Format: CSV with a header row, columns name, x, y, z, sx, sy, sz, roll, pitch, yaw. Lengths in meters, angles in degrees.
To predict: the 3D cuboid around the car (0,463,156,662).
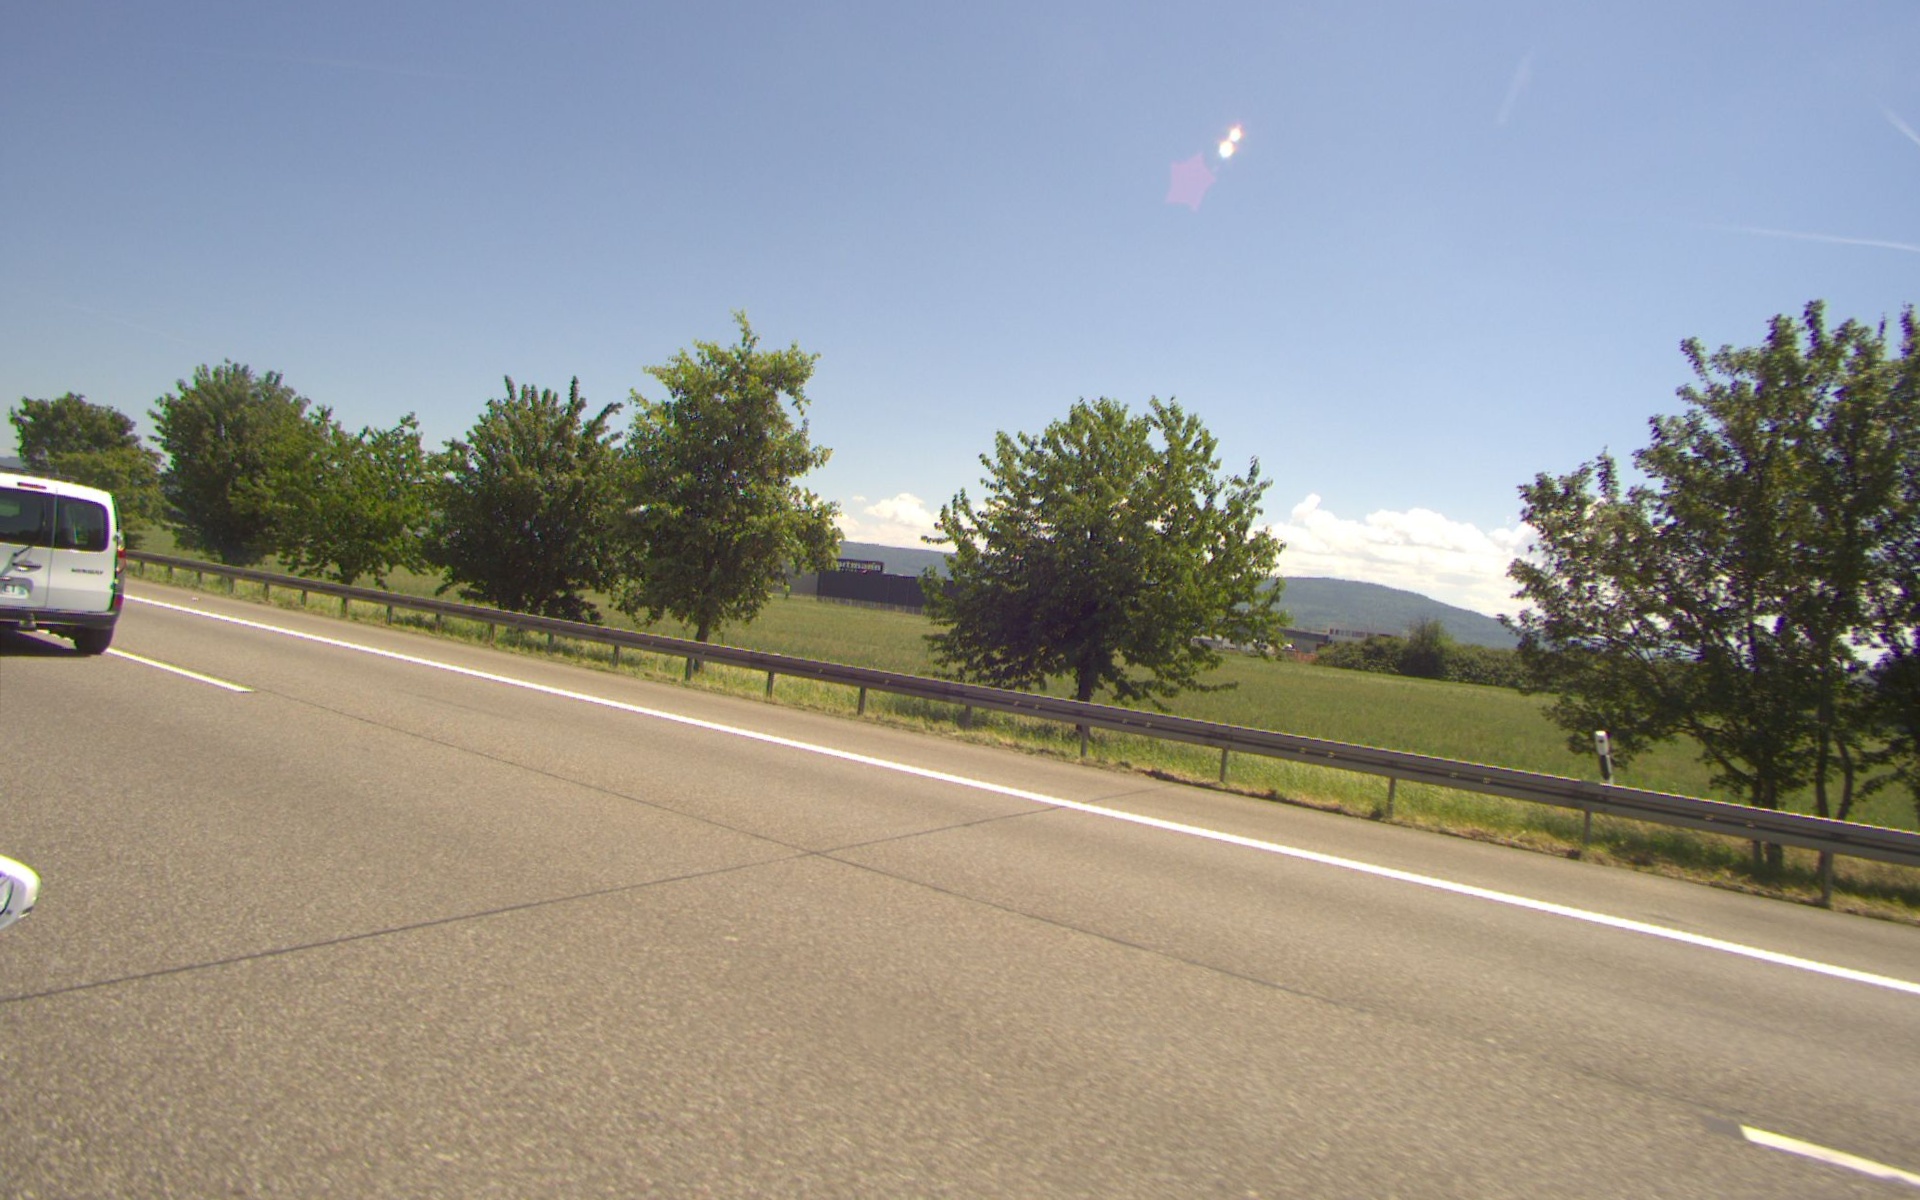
name,x,y,z,sx,sy,sz,roll,pitch,yaw
car,-11.220,-0.569,11.266,4.624,1.884,1.857,6,-2,31
